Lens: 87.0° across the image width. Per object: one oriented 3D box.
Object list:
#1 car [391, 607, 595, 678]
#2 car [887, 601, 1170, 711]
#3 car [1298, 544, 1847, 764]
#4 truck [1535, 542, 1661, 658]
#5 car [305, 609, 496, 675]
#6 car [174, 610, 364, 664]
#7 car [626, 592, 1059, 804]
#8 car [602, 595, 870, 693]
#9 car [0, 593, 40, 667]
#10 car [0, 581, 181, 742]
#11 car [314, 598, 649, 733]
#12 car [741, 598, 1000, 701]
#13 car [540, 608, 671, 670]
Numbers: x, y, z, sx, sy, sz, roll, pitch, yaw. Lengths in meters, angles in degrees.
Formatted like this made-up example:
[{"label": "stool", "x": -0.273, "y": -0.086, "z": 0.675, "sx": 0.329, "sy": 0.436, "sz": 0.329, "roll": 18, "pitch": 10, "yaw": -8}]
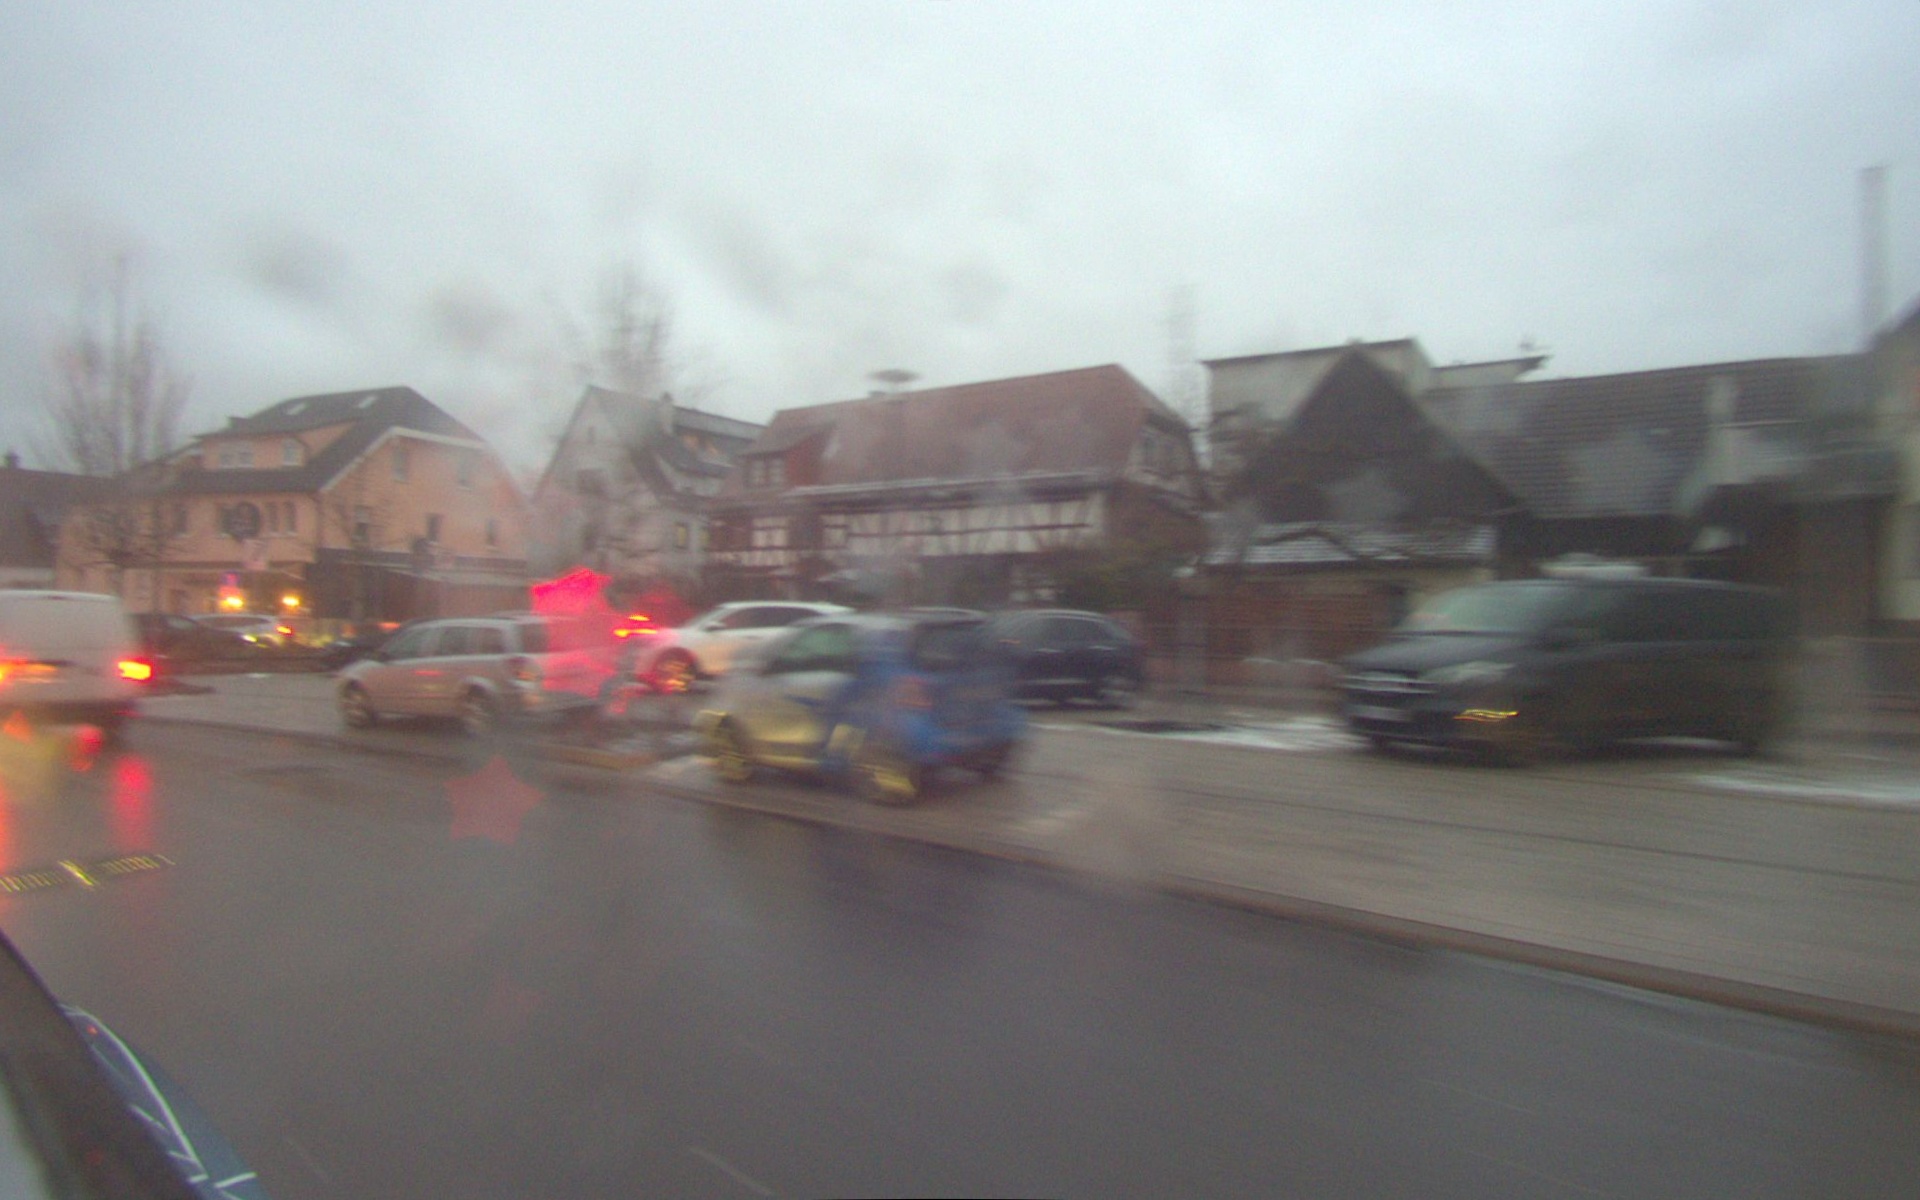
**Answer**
[{"label": "car", "x": -10.541, "y": 0.931, "z": 22.920, "sx": 4.005, "sy": 1.470, "sz": 1.763, "roll": 1, "pitch": -2, "yaw": -32}, {"label": "car", "x": 1.045, "y": 0.816, "z": 15.883, "sx": 3.930, "sy": 1.541, "sz": 2.006, "roll": 0, "pitch": -1, "yaw": -23}, {"label": "car", "x": 6.433, "y": 0.569, "z": 10.664, "sx": 5.304, "sy": 1.900, "sz": 2.080, "roll": 2, "pitch": -3, "yaw": -20}, {"label": "truck", "x": 18.237, "y": -0.003, "z": 29.142, "sx": 2.775, "sy": 2.974, "sz": 5.797, "roll": -1, "pitch": 0, "yaw": 31}, {"label": "car", "x": -13.380, "y": 1.008, "z": 24.323, "sx": 3.866, "sy": 1.470, "sz": 1.767, "roll": 1, "pitch": -3, "yaw": -31}, {"label": "car", "x": -22.493, "y": 1.271, "z": 33.165, "sx": 1.994, "sy": 1.648, "sz": 4.716, "roll": -2, "pitch": -4, "yaw": 33}, {"label": "car", "x": -1.140, "y": 0.747, "z": 9.231, "sx": 3.667, "sy": 1.547, "sz": 1.817, "roll": -1, "pitch": -1, "yaw": 35}, {"label": "car", "x": -4.223, "y": 0.810, "z": 19.187, "sx": 4.575, "sy": 1.666, "sz": 1.994, "roll": 1, "pitch": -1, "yaw": -27}, {"label": "car", "x": -27.461, "y": 0.812, "z": 25.796, "sx": 1.988, "sy": 1.961, "sz": 5.707, "roll": -2, "pitch": -1, "yaw": 37}, {"label": "car", "x": -12.208, "y": 0.730, "z": 12.961, "sx": 4.835, "sy": 1.764, "sz": 1.931, "roll": -1, "pitch": -4, "yaw": 32}, {"label": "car", "x": -6.392, "y": 0.803, "z": 13.476, "sx": 4.235, "sy": 1.545, "sz": 1.893, "roll": -1, "pitch": -1, "yaw": 28}, {"label": "car", "x": -1.517, "y": 0.855, "z": 17.377, "sx": 4.042, "sy": 1.594, "sz": 1.726, "roll": 2, "pitch": -2, "yaw": -27}, {"label": "car", "x": -10.703, "y": 1.121, "z": 30.476, "sx": 3.989, "sy": 1.741, "sz": 1.701, "roll": -1, "pitch": 0, "yaw": 34}]
